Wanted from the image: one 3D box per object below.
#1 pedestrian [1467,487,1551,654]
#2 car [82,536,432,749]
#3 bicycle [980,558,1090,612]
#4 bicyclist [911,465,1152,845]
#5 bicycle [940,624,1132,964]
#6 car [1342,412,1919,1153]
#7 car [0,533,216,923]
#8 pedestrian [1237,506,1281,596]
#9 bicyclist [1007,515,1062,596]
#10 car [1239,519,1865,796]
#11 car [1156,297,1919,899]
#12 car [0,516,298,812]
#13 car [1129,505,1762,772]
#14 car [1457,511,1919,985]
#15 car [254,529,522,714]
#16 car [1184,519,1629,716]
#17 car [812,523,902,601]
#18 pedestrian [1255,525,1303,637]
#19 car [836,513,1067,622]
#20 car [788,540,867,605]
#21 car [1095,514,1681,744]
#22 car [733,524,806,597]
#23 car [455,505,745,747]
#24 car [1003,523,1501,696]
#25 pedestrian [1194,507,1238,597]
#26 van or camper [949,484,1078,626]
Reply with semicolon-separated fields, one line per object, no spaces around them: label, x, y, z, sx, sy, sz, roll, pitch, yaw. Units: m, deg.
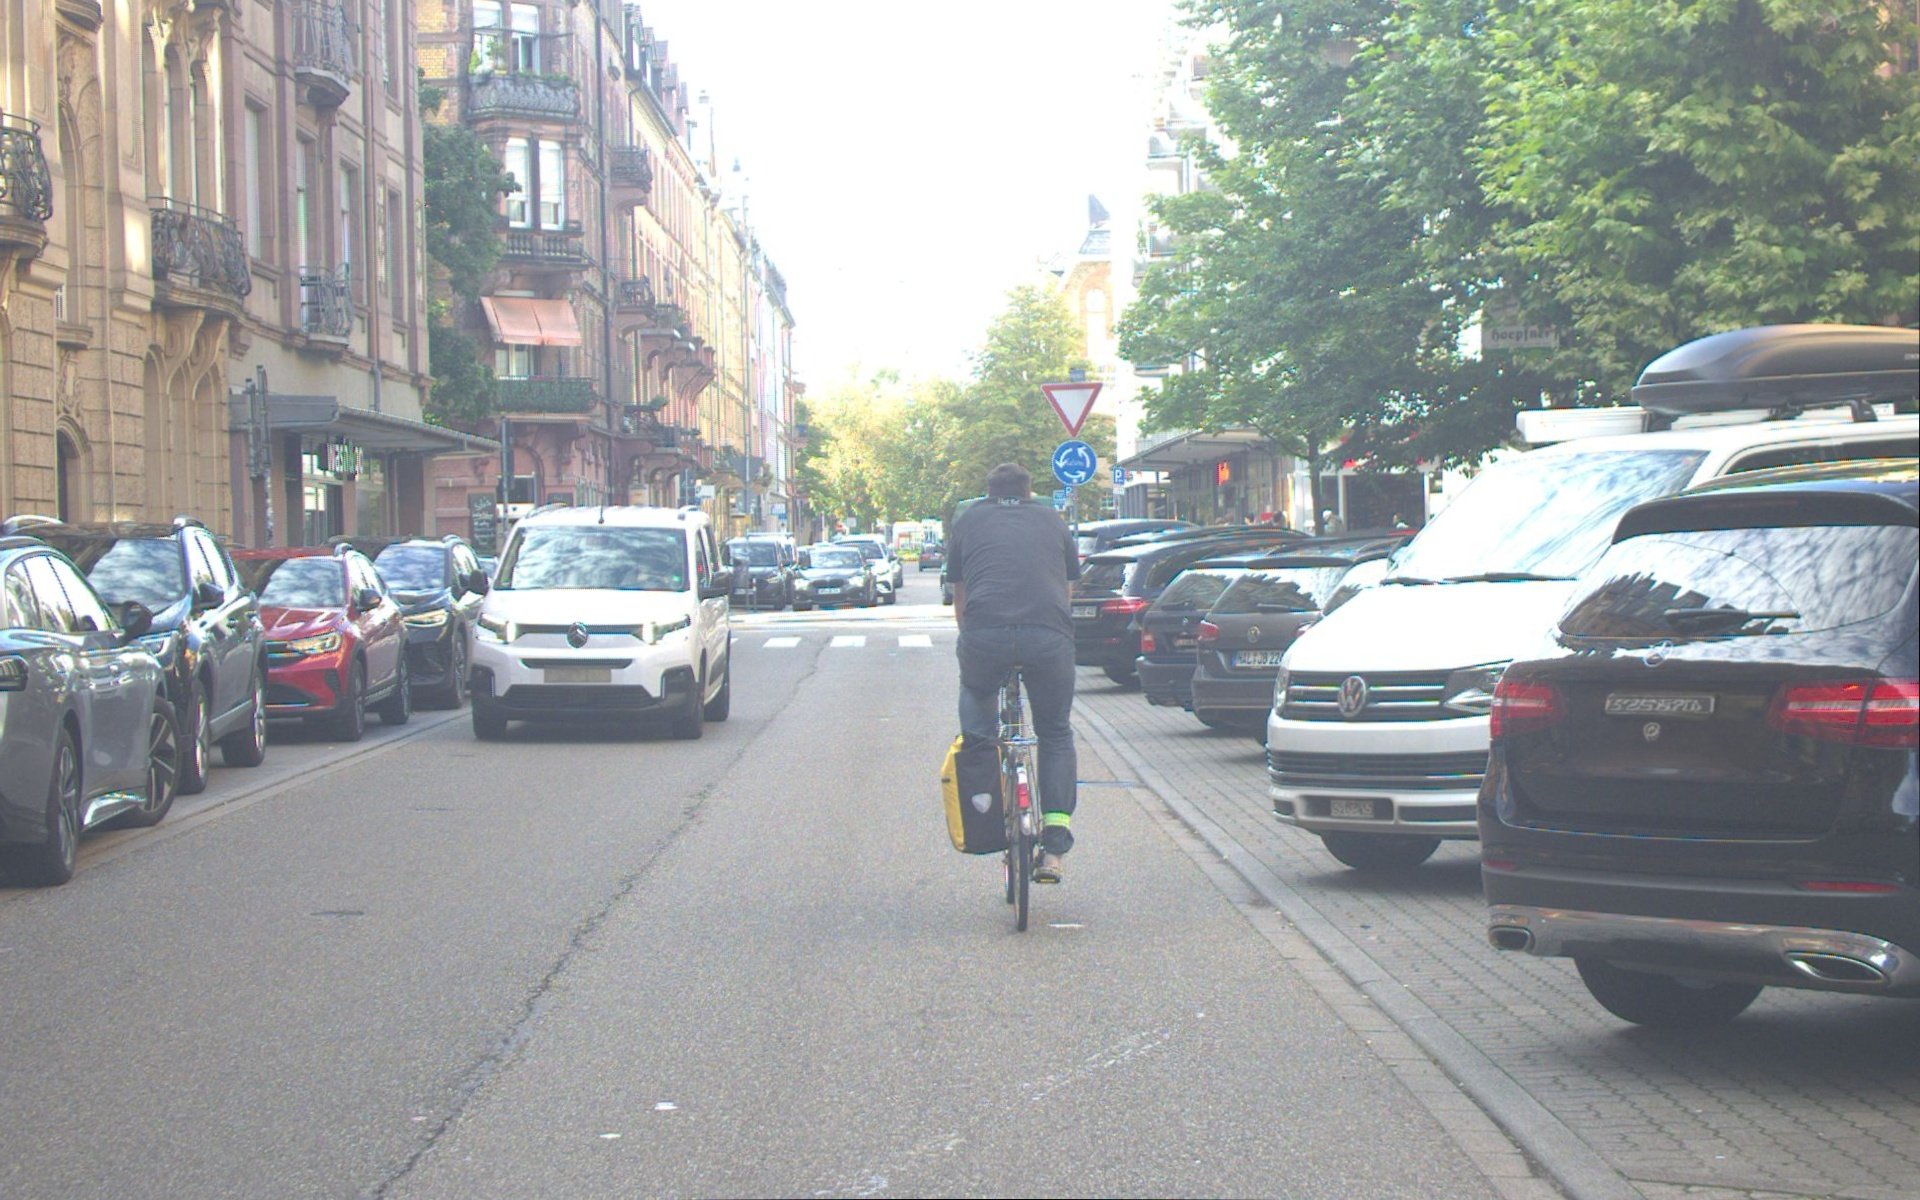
pedestrian;6.281;-0.341;39.365;0.839;1.871;0.723;-2;1;4
car;-5.578;0.291;27.830;1.993;1.539;4.427;-1;1;-1
bicycle;1.539;-0.308;70.978;2.188;1.088;0.676;1;1;26
bicyclist;0.273;0.209;13.748;0.933;1.478;0.747;0;1;-1
bicycle;0.267;0.710;13.671;0.665;1.174;2.497;0;1;-1
car;3.463;0.369;10.103;4.444;1.726;2.000;-1;2;-35
car;-4.860;0.475;16.439;1.825;1.573;5.264;0;1;-4
pedestrian;6.258;-1.031;71.955;0.869;1.845;0.612;-1;1;5
bicyclist;1.546;-0.924;70.974;0.855;1.660;0.789;1;1;29
car;3.796;0.305;21.688;3.983;1.454;1.750;-4;2;-42
car;3.586;-0.107;15.886;5.144;2.397;1.918;-3;1;-33
car;-5.494;0.309;22.093;1.872;1.675;4.895;0;2;-4
car;3.517;0.211;24.420;4.456;1.472;1.889;-6;3;-40
car;4.116;0.433;13.276;4.224;1.544;1.873;-1;2;-35
car;-5.444;0.167;33.302;1.790;1.623;4.847;-1;1;0
car;3.957;0.119;30.205;3.709;1.480;1.741;-4;2;-38
car;-2.576;-0.997;87.232;1.942;1.716;4.850;-3;2;1
pedestrian;4.995;-0.302;53.788;0.629;1.733;0.775;-1;1;12
car;-0.170;-0.583;60.559;3.986;1.875;2.000;0;1;-1
car;-3.023;-0.612;78.410;1.750;1.431;4.212;0;0;-2
car;3.447;0.177;27.323;4.455;1.459;1.879;-5;3;-35
car;-5.447;-1.143;98.789;1.993;2.007;4.001;-2;1;-3
car;-2.849;0.158;28.082;1.917;1.822;4.438;0;1;0
car;3.054;0.053;35.744;4.753;1.452;2.057;-4;3;-28
pedestrian;5.370;-1.007;72.036;0.869;1.845;0.612;-1;1;5
van or camper;1.158;-1.016;76.584;2.531;3.027;4.459;-1;1;-3
